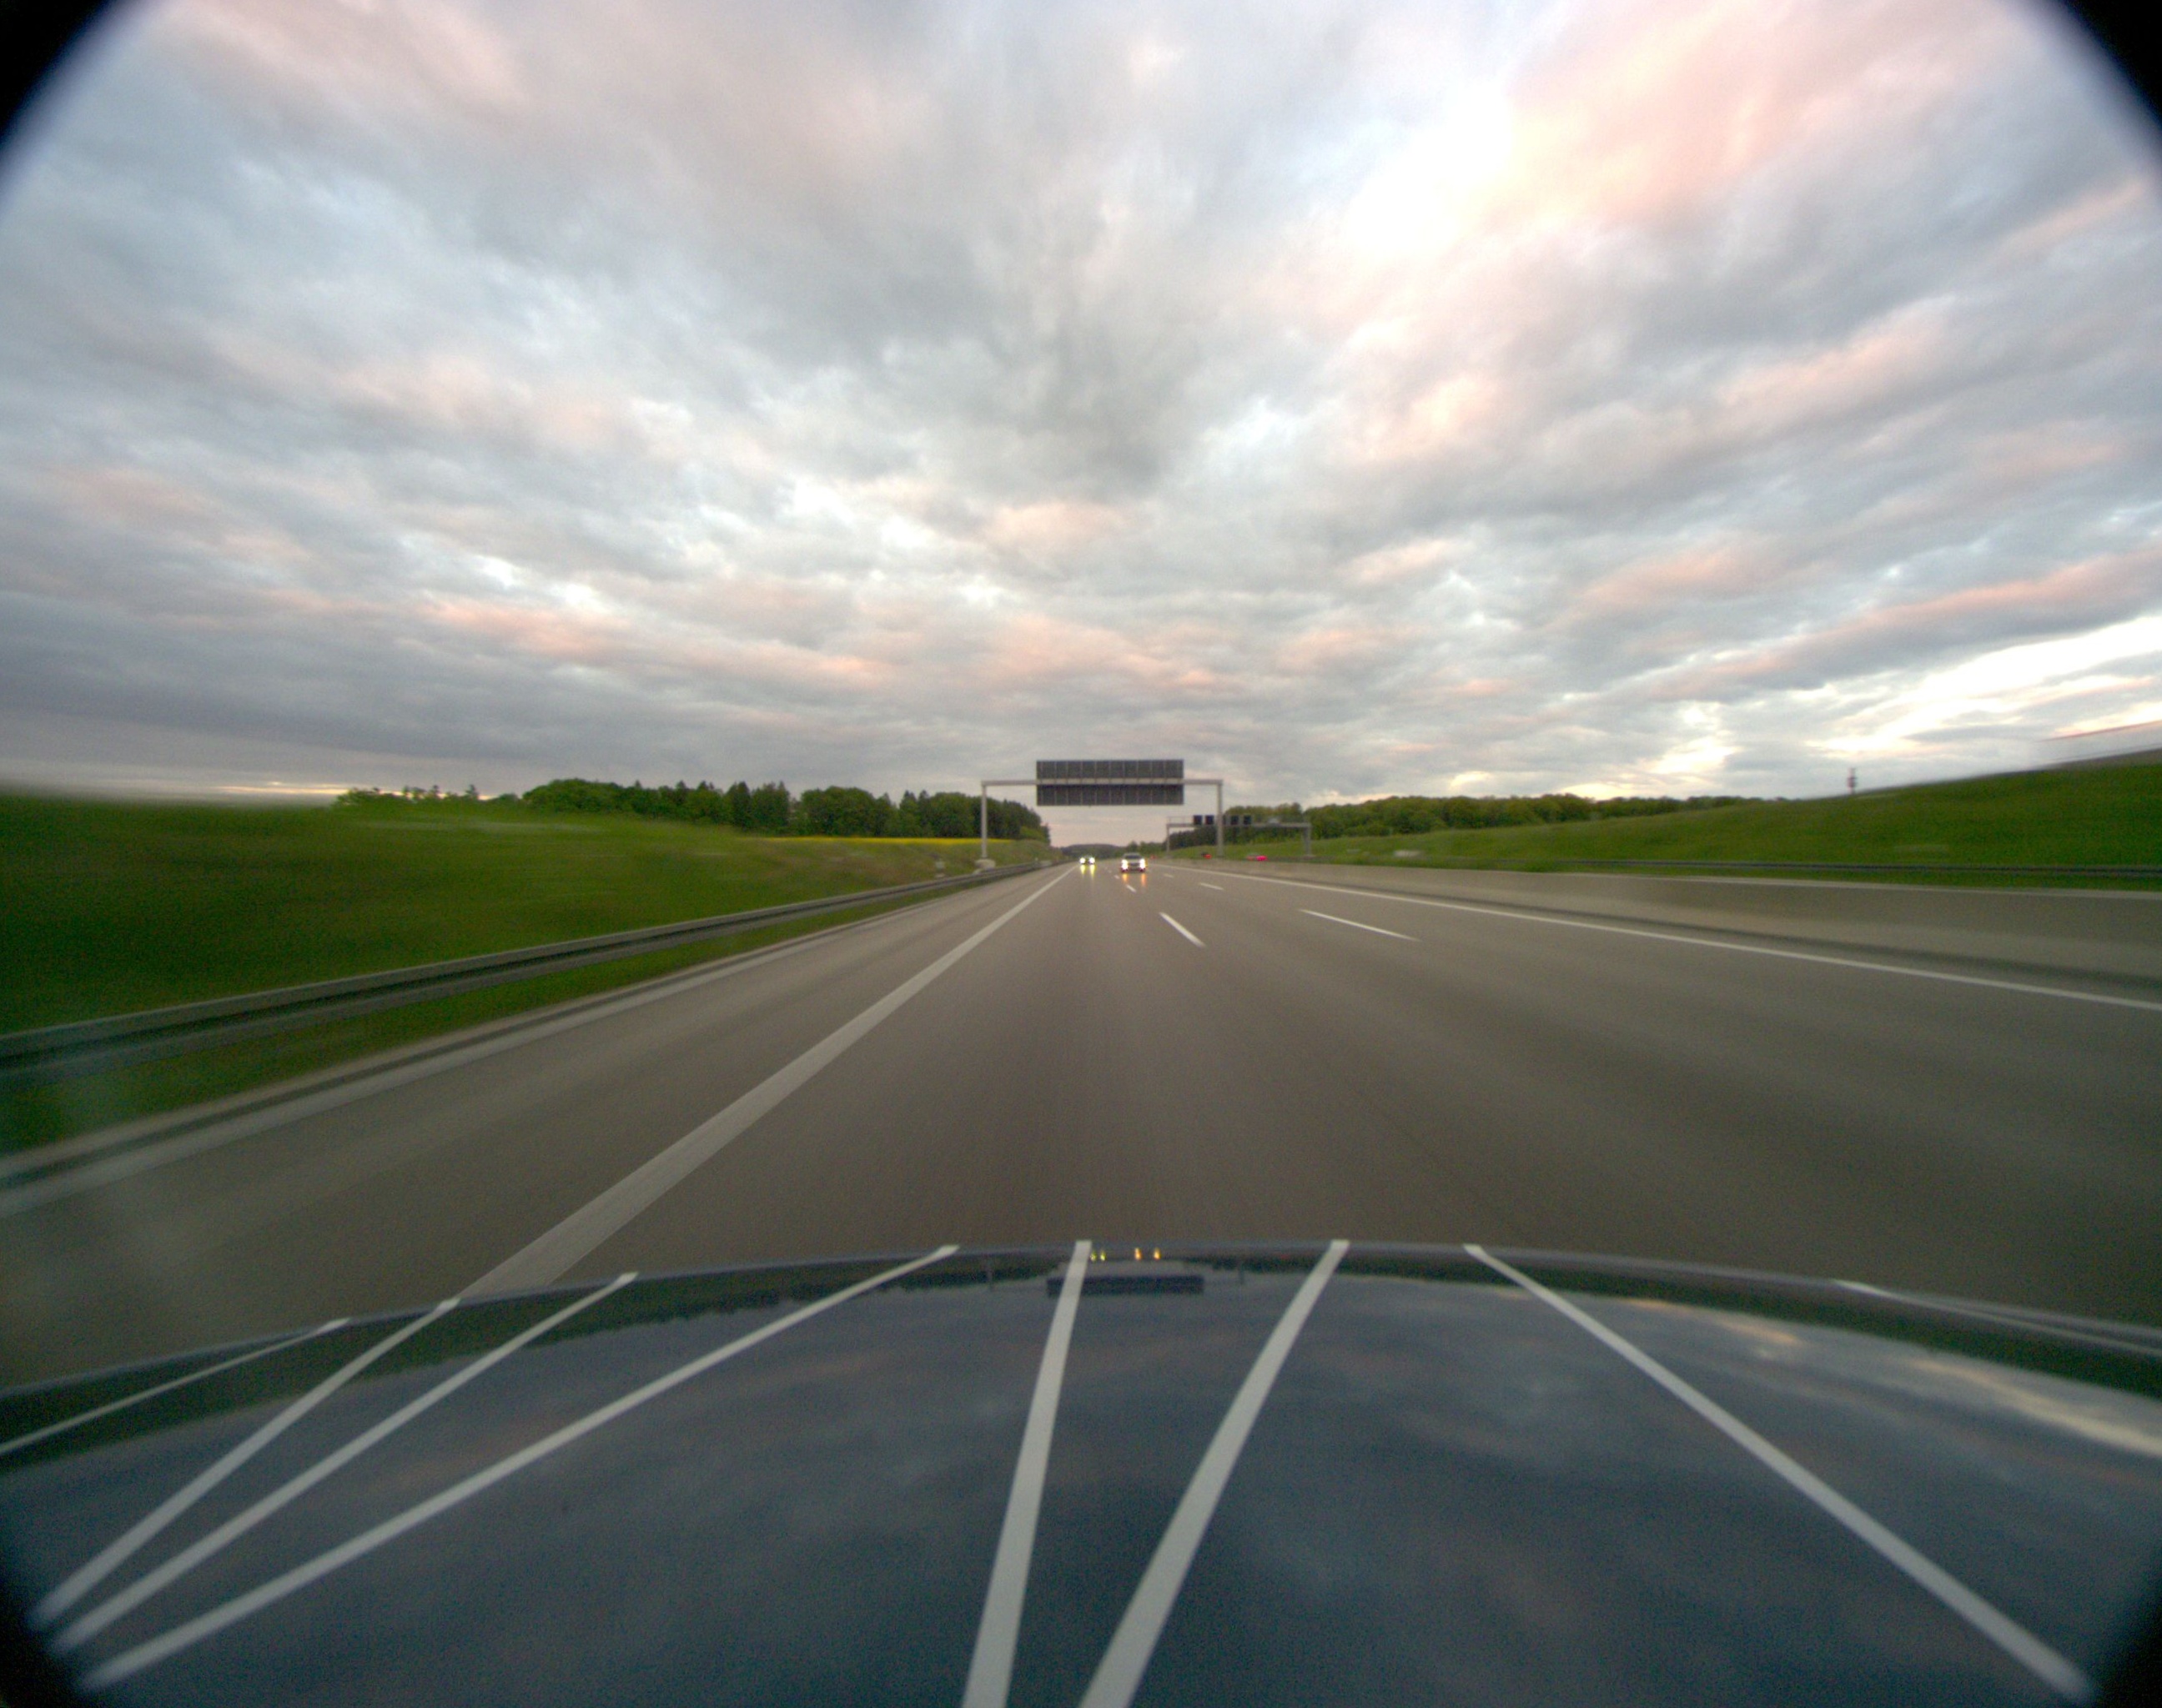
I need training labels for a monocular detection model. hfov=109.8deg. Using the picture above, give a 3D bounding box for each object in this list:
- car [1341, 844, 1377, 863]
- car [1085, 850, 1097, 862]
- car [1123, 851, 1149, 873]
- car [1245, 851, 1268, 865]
[{"bbox_3d":[23.978,-0.079,65.595,1.606,1.548,4.000,-2,0,1],"label":"car"},{"bbox_3d":[1.635,0.278,119.869,1.801,1.674,4.384,-1,1,1],"label":"car"},{"bbox_3d":[4.596,0.628,64.507,1.857,1.683,5.511,-1,1,1],"label":"car"},{"bbox_3d":[20.598,0.444,89.426,1.758,1.543,4.361,-2,0,2],"label":"car"}]
